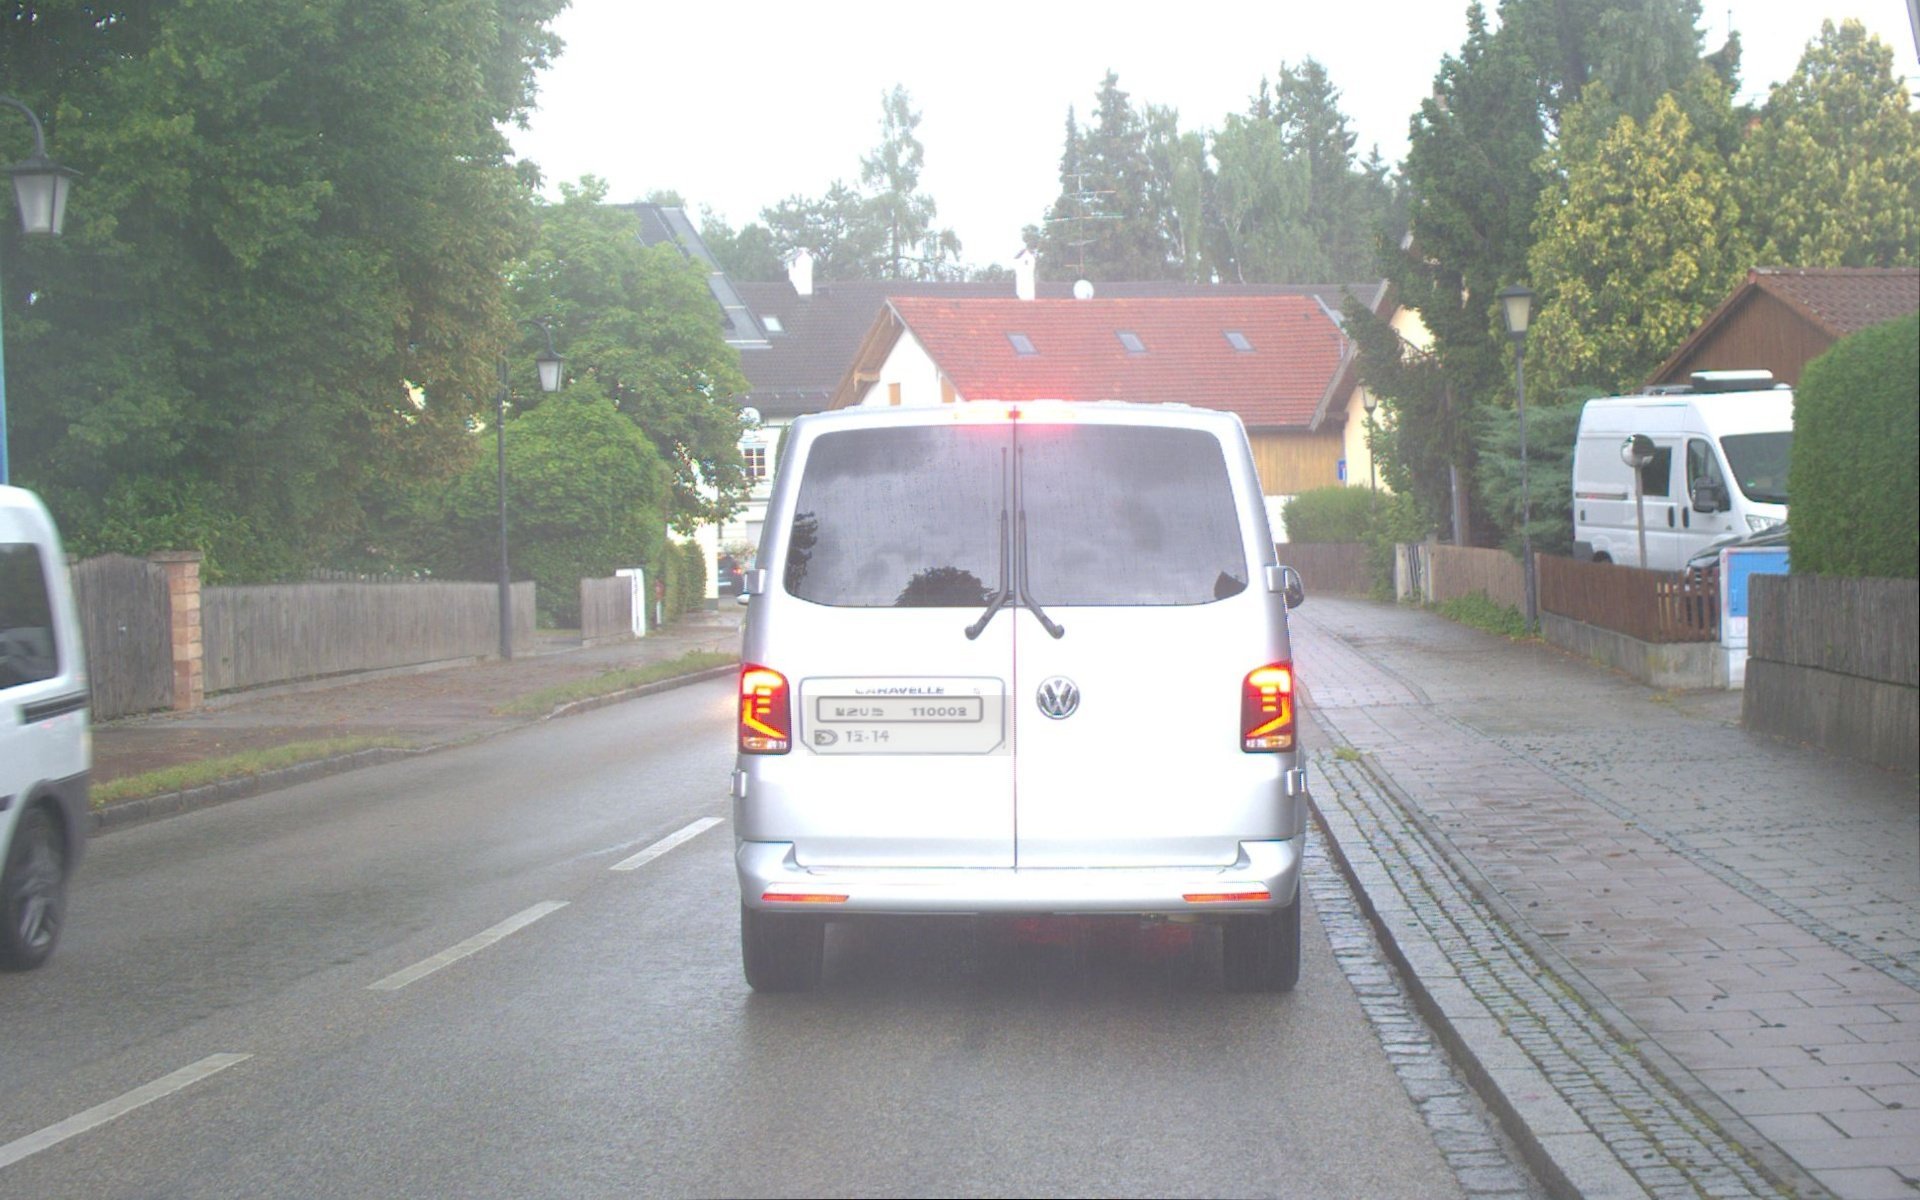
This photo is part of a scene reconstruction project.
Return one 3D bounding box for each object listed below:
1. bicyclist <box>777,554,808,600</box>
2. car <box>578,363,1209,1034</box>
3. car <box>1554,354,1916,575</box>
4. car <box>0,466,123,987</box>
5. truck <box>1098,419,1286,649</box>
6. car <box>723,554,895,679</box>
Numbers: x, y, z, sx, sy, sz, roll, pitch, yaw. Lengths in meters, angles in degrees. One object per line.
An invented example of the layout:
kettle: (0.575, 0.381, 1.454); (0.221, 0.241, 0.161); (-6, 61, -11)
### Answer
bicyclist: (-3.732, -0.514, 76.498); (0.587, 1.018, 1.060); (0, 1, 3)
car: (-0.066, 0.284, 12.420); (1.801, 2.007, 3.999); (1, 0, 6)
car: (8.172, -1.362, 36.791); (1.993, 2.166, 4.954); (1, 0, -10)
car: (-4.133, 0.421, 10.733); (1.640, 1.759, 4.330); (1, 0, 5)
truck: (3.269, -0.896, 49.307); (2.476, 3.063, 6.295); (1, 0, 3)
car: (-1.773, 0.182, 41.406); (1.618, 1.439, 3.670); (0, 0, 5)
